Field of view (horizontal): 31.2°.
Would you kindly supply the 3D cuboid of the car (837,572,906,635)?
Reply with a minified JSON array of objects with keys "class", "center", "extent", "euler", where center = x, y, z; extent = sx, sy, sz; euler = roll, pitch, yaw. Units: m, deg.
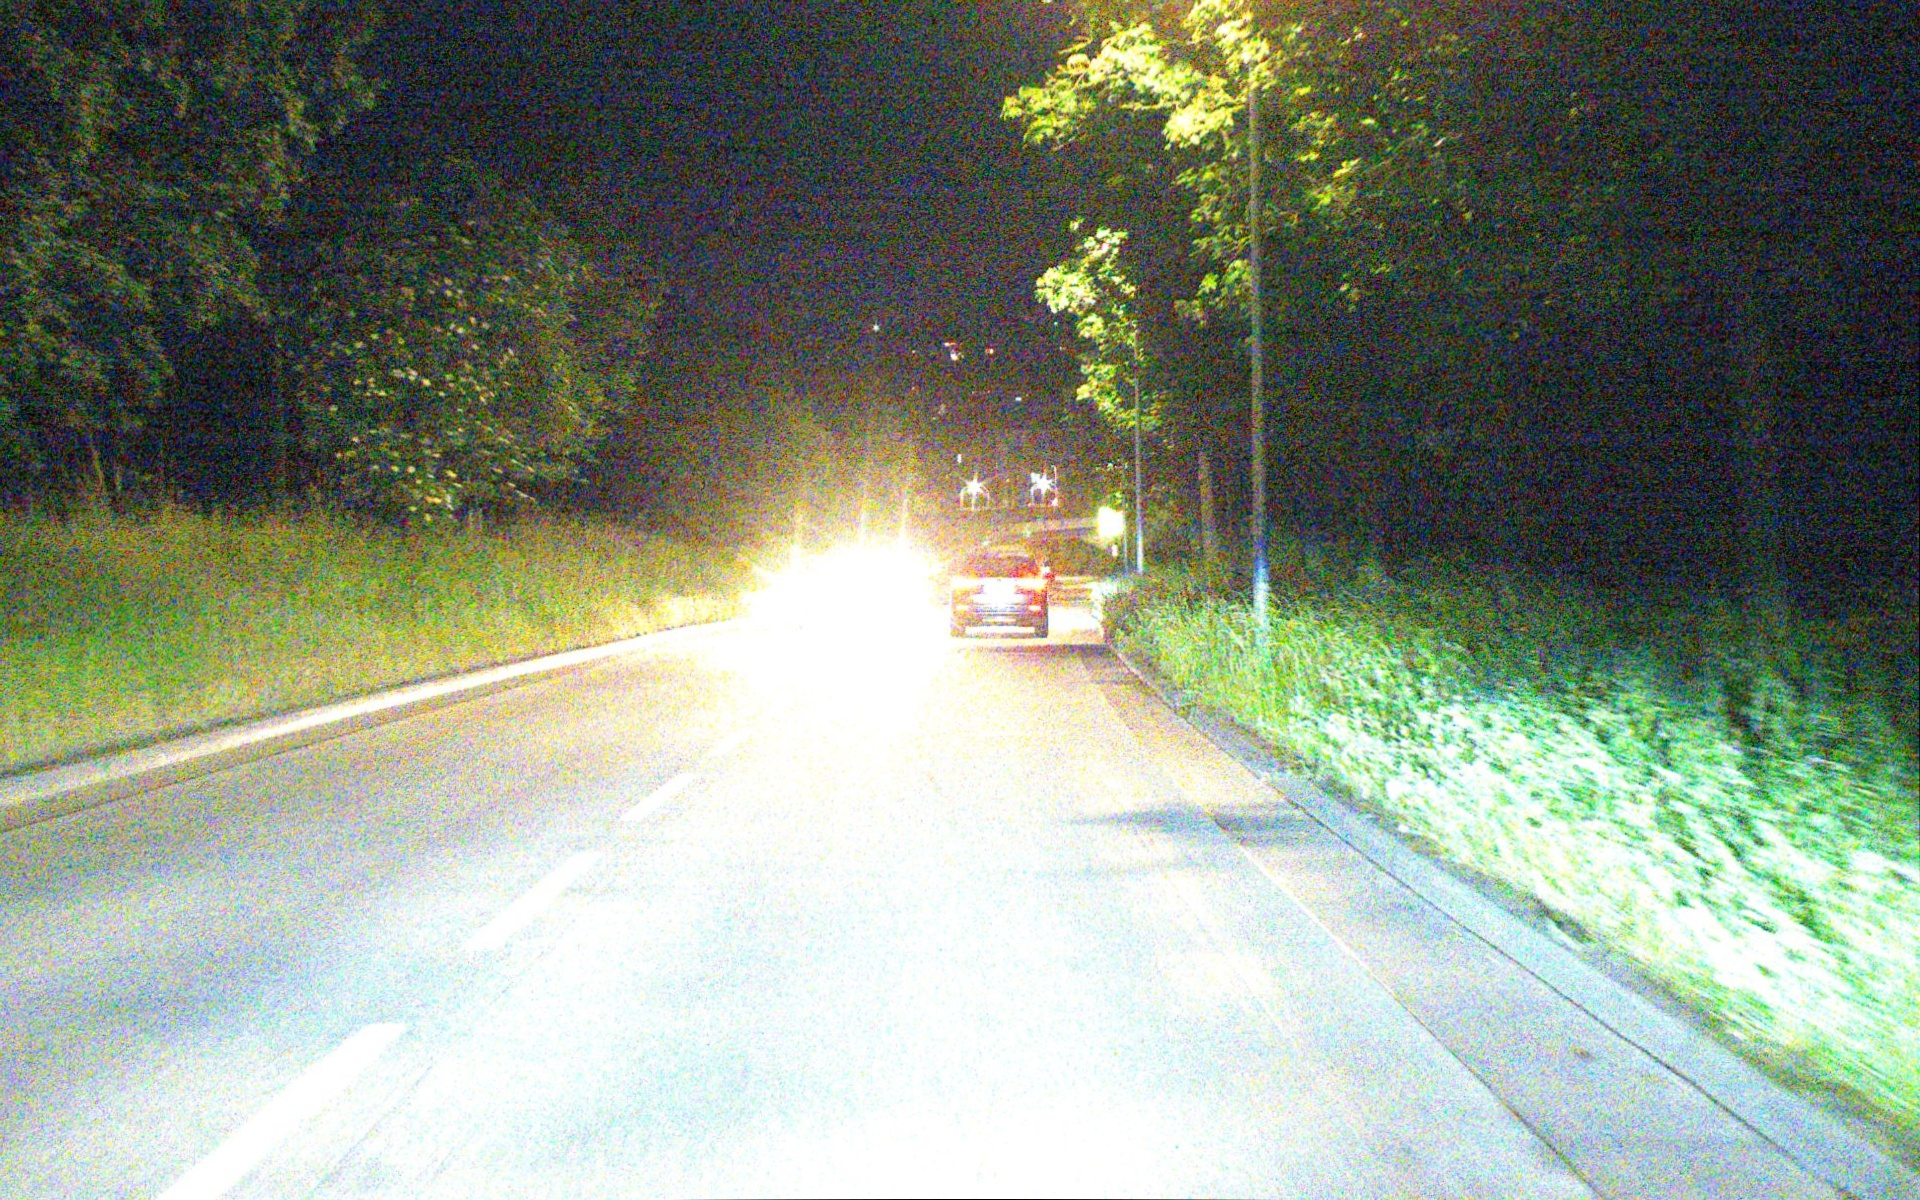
[{"class":"car","center":[-2.160,0.079,84.707],"extent":[1.647,1.486,3.558],"euler":[0,1,-1]}]

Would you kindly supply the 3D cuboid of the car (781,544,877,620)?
[{"class":"car","center":[-2.565,-0.360,68.165],"extent":[1.687,1.452,4.000],"euler":[0,1,1]}]

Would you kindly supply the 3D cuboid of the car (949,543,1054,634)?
[{"class":"car","center":[0.743,-0.234,63.538],"extent":[1.763,1.636,3.723],"euler":[0,1,-2]}]
